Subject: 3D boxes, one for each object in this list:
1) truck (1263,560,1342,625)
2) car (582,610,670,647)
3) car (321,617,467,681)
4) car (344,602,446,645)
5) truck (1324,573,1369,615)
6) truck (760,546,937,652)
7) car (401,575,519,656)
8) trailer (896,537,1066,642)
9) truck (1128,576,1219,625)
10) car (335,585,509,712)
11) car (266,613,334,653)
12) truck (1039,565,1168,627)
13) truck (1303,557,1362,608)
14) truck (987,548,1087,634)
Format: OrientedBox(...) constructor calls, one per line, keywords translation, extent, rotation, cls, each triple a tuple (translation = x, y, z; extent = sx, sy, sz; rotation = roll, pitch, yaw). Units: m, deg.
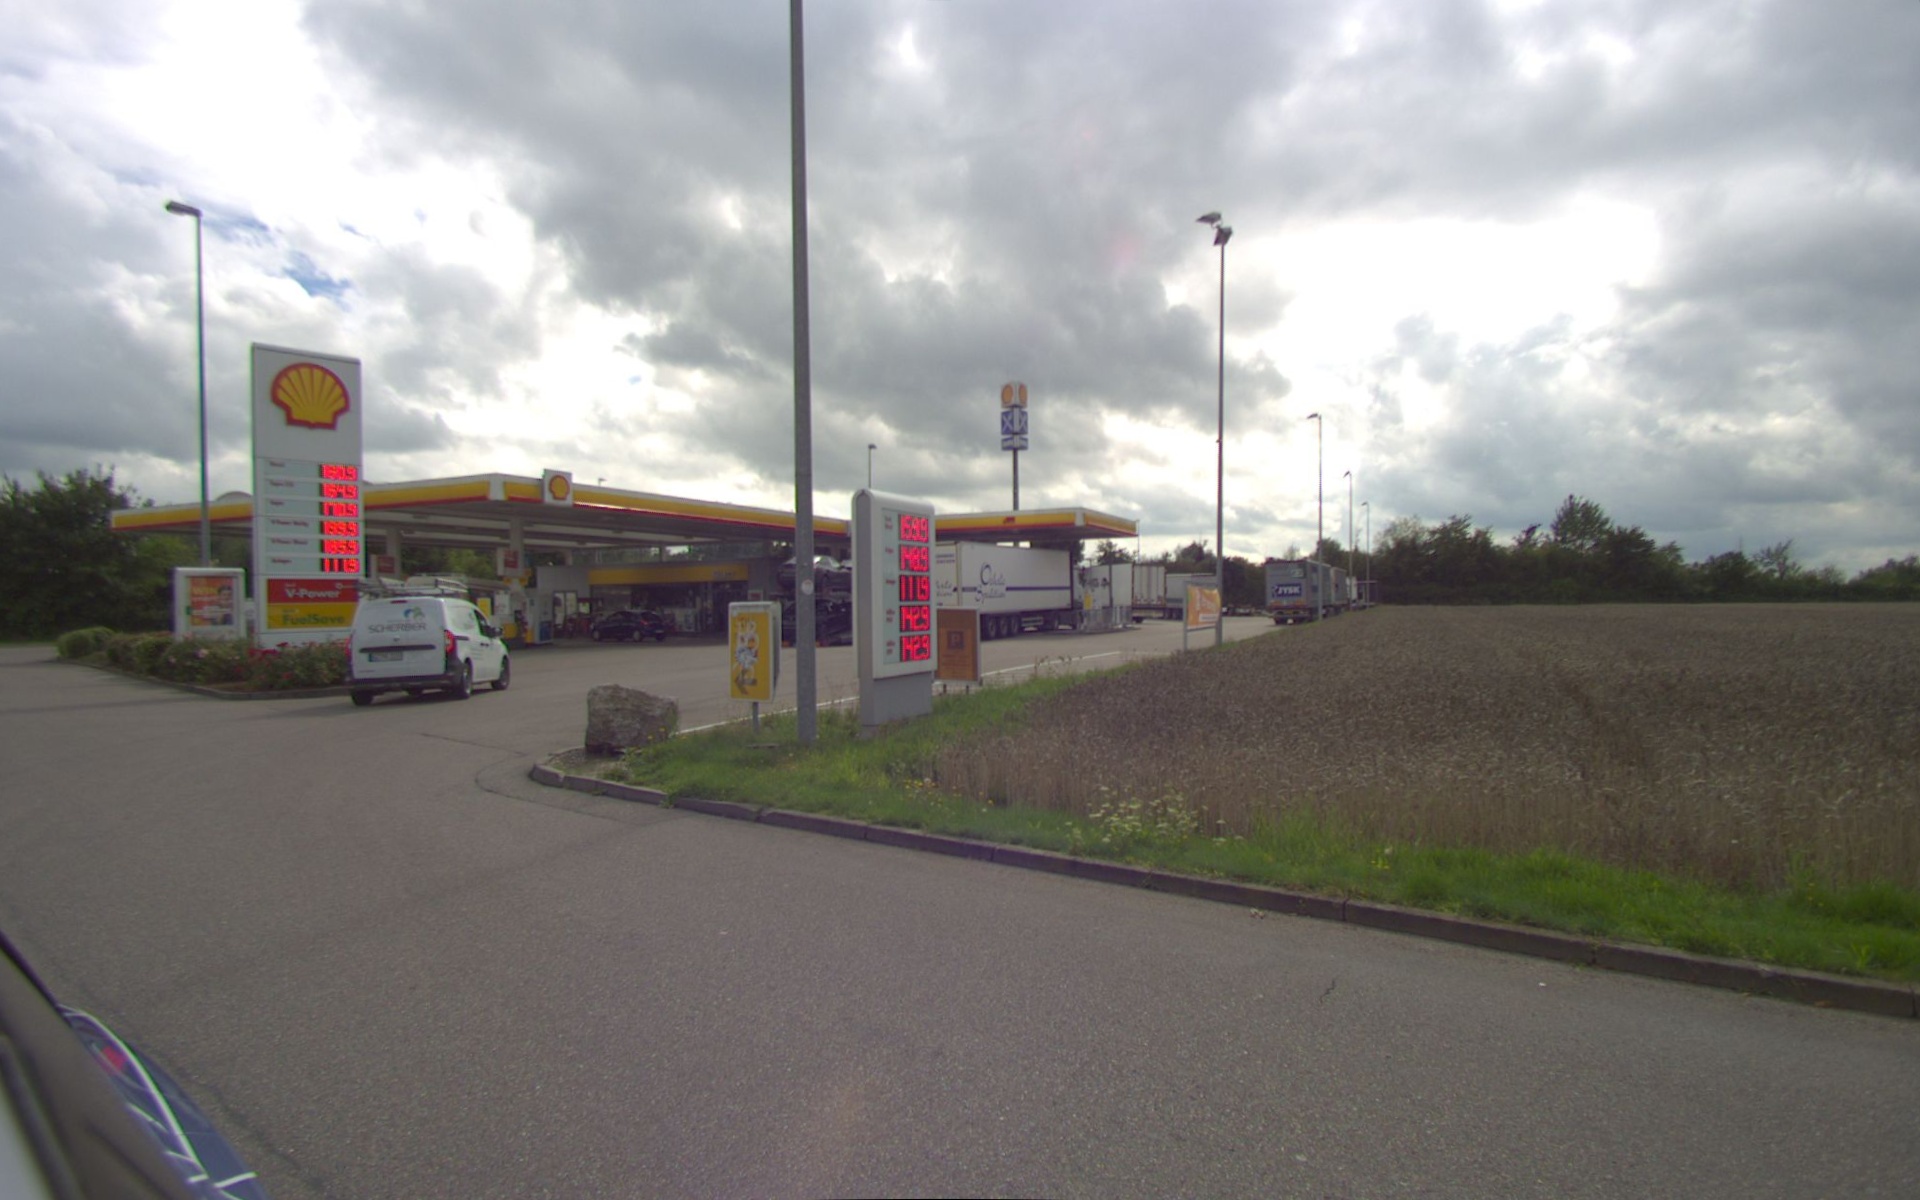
OrientedBox(translation=(23.499, -0.465, 68.810), extent=(2.811, 3.923, 15.317), rotation=(0, 0, 27), cls="truck")
OrientedBox(translation=(-15.548, 1.331, 47.126), extent=(3.741, 1.613, 1.702), rotation=(-2, -1, 26), cls="car")
OrientedBox(translation=(-14.931, 1.267, 26.674), extent=(3.703, 1.559, 1.565), rotation=(-2, -1, 27), cls="car")
OrientedBox(translation=(-22.366, 0.902, 40.254), extent=(1.971, 1.571, 3.963), rotation=(-1, -1, -2), cls="car")
OrientedBox(translation=(38.763, -0.587, 101.217), extent=(2.811, 3.923, 12.689), rotation=(0, 0, 27), cls="truck")
OrientedBox(translation=(-4.392, -0.030, 44.456), extent=(2.729, 3.953, 13.183), rotation=(0, 0, 17), cls="truck")
OrientedBox(translation=(-19.011, 0.579, 38.814), extent=(2.190, 2.808, 5.817), rotation=(-1, -1, -7), cls="car")
OrientedBox(translation=(1.373, -0.391, 45.652), extent=(2.697, 4.055, 12.739), rotation=(-2, -1, 25), cls="trailer")
OrientedBox(translation=(19.070, 0.128, 91.557), extent=(2.944, 4.142, 11.608), rotation=(-1, -1, -16), cls="truck")
OrientedBox(translation=(-9.650, 0.826, 18.480), extent=(1.767, 2.027, 3.890), rotation=(-1, -1, -12), cls="car")
OrientedBox(translation=(-28.133, 1.364, 43.263), extent=(1.819, 1.586, 4.013), rotation=(-1, -1, -24), cls="car")
OrientedBox(translation=(10.243, -0.266, 75.210), extent=(2.912, 4.143, 14.796), rotation=(0, 0, -20), cls="truck")
OrientedBox(translation=(31.649, -1.356, 85.522), extent=(2.811, 3.923, 15.317), rotation=(0, 0, 27), cls="truck")
OrientedBox(translation=(4.056, -0.401, 51.435), extent=(2.697, 4.055, 7.108), rotation=(-2, -1, 25), cls="truck")
